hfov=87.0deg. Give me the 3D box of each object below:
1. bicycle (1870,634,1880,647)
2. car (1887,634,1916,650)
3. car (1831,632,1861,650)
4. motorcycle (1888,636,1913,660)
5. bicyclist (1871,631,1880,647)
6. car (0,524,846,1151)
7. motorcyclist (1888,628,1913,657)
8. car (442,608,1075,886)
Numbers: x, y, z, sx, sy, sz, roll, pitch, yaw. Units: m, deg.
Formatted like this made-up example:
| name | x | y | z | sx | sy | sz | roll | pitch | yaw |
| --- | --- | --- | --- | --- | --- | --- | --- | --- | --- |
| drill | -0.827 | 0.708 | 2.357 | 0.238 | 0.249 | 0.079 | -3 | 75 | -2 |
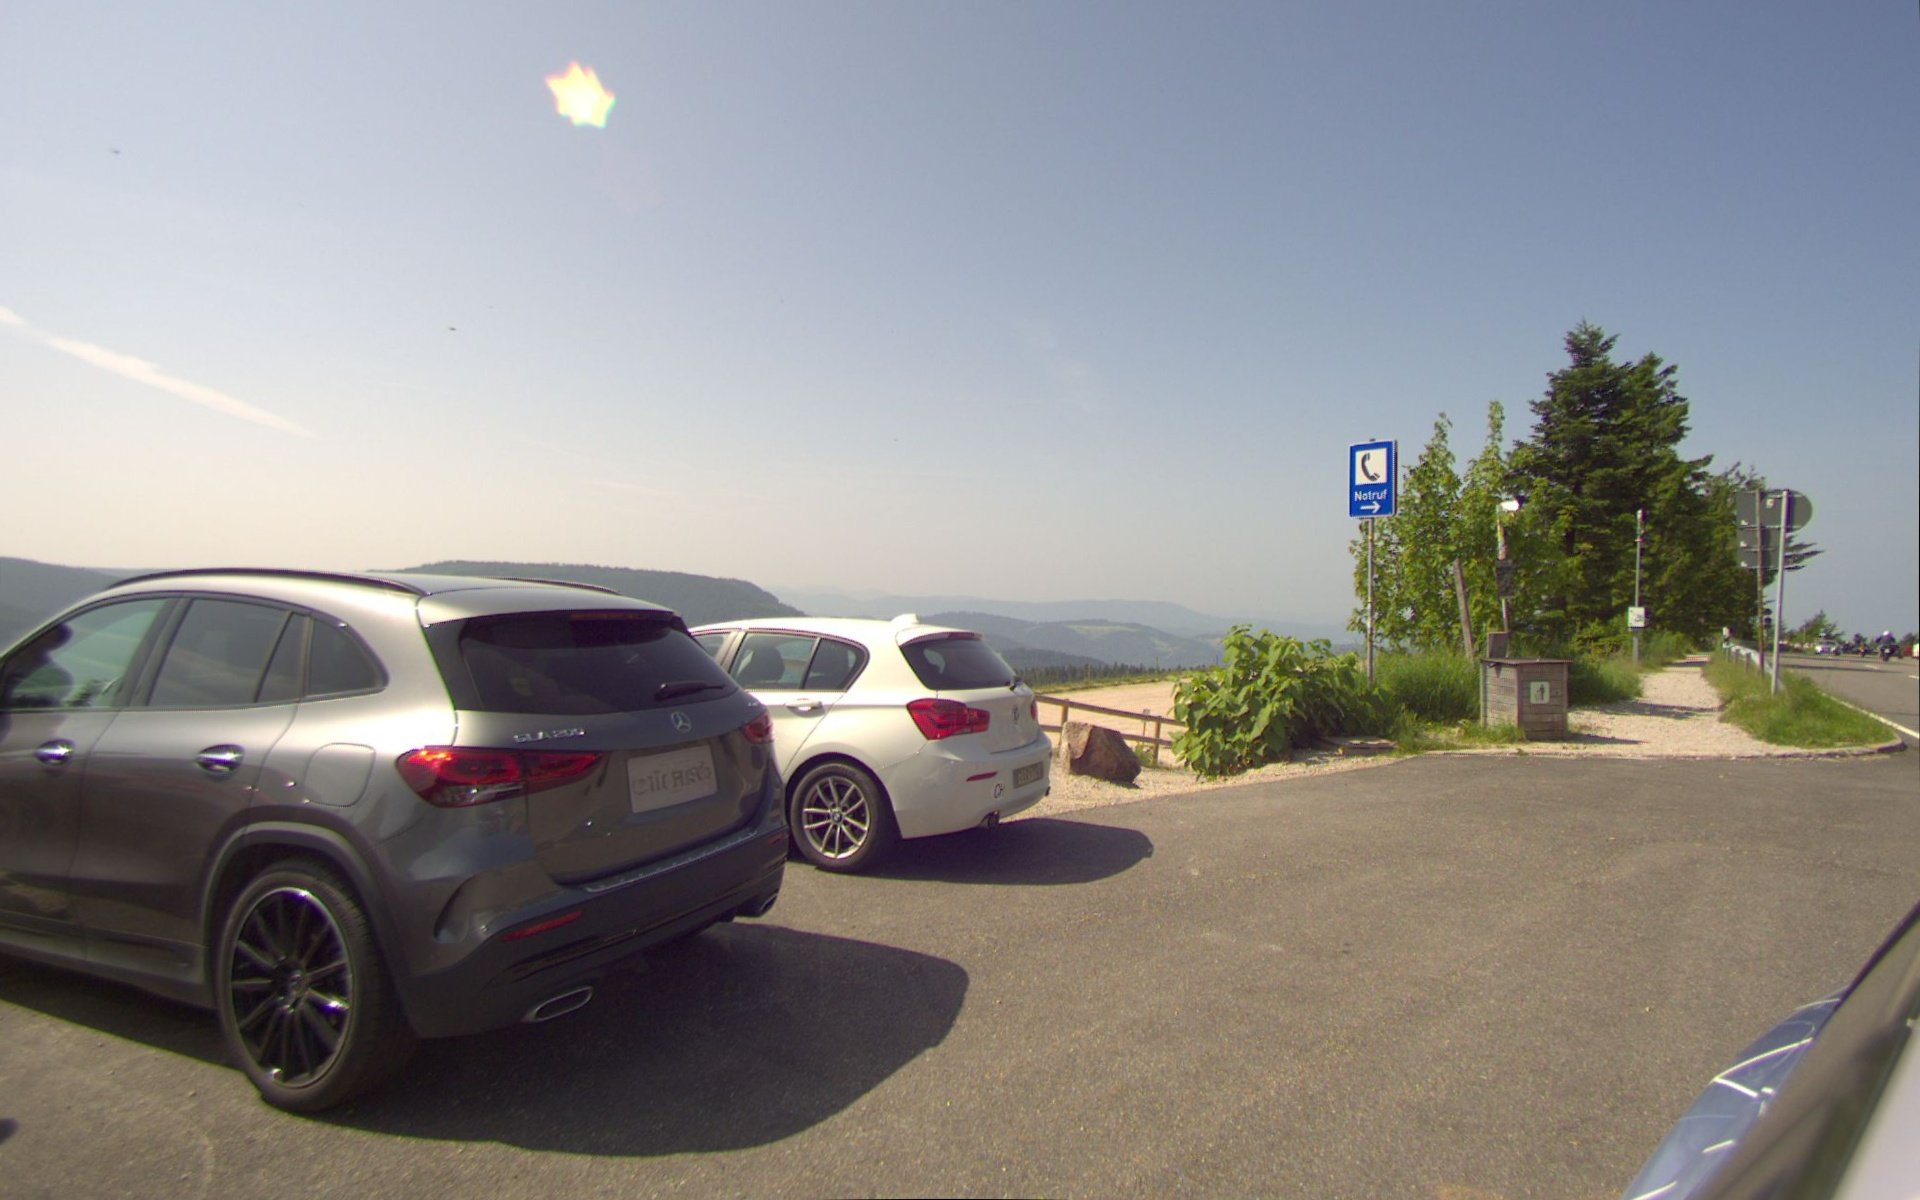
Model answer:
| name | x | y | z | sx | sy | sz | roll | pitch | yaw |
| --- | --- | --- | --- | --- | --- | --- | --- | --- | --- |
| bicycle | 91.194 | 4.078 | 100.841 | 1.827 | 1.242 | 0.545 | 2 | 1 | -44 |
| car | 106.238 | 4.734 | 114.190 | 3.931 | 1.615 | 1.997 | 2 | 2 | -43 |
| car | 88.672 | 4.048 | 101.249 | 1.994 | 1.615 | 3.936 | 4 | 2 | 44 |
| motorcycle | 51.299 | 2.607 | 55.217 | 0.838 | 1.109 | 2.152 | 5 | 4 | 39 |
| bicyclist | 91.130 | 3.913 | 100.776 | 0.668 | 1.547 | 0.545 | 2 | 1 | -44 |
| car | -2.847 | 0.627 | 4.340 | 4.362 | 1.588 | 1.892 | -1 | -1 | 24 |
| motorcyclist | 51.307 | 2.313 | 55.211 | 0.838 | 1.458 | 0.991 | 5 | 3 | 40 |
| car | -1.376 | 0.774 | 6.744 | 3.957 | 1.403 | 1.643 | -1 | -1 | 25 |
